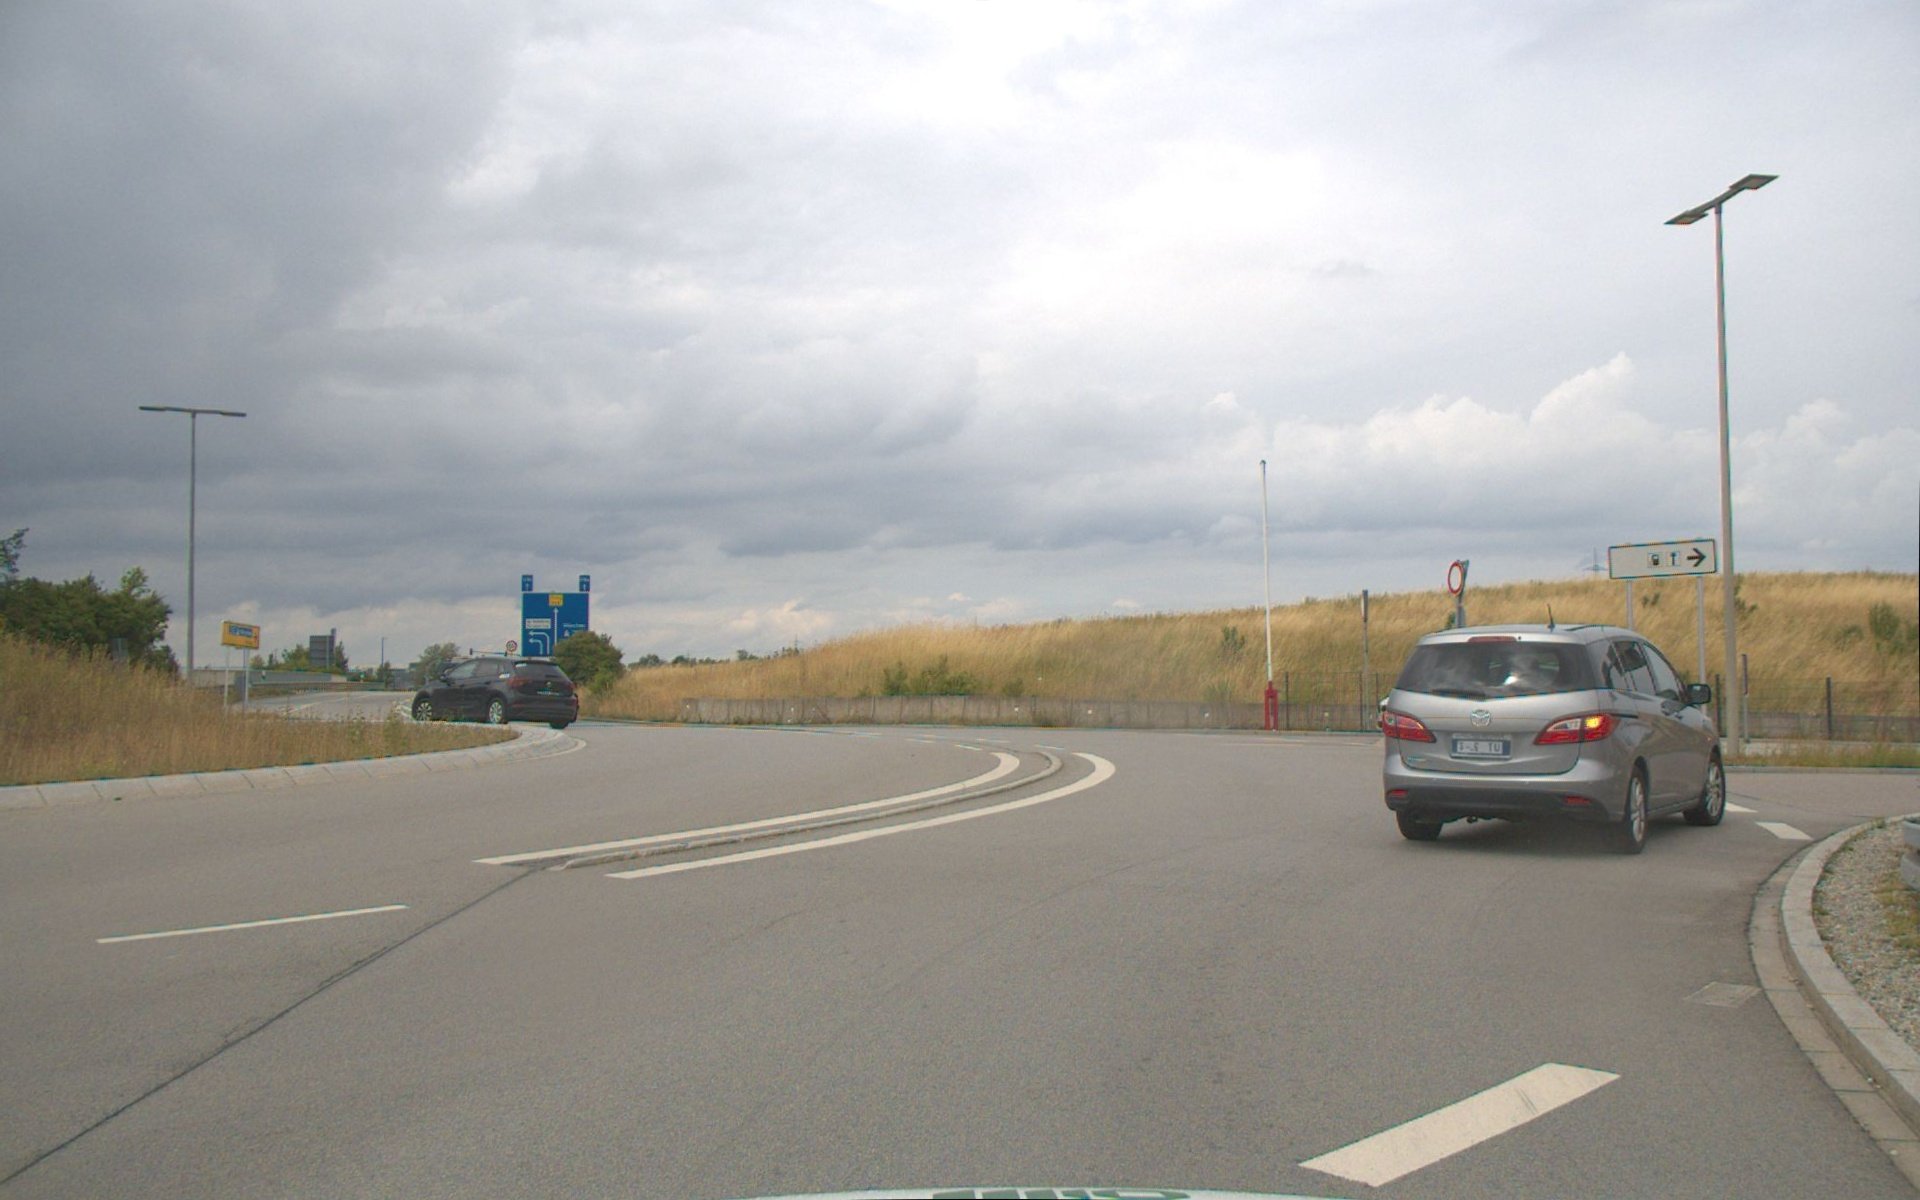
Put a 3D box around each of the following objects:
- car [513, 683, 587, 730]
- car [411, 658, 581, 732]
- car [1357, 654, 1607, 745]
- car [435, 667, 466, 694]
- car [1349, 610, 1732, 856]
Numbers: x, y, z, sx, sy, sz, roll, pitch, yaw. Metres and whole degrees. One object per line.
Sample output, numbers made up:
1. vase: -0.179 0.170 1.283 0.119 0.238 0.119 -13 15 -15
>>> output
1. car: -13.662 3.541 54.975 1.501 1.512 3.579 2 -4 -29
2. car: -9.616 1.929 34.151 3.932 1.402 1.655 -2 -2 44
3. car: 10.170 1.929 32.397 4.324 1.657 1.783 1 -1 -3
4. car: -31.125 4.899 100.985 1.575 1.576 4.021 -1 -1 -20
5. car: 4.682 0.937 12.988 1.878 1.602 3.987 -2 -2 34
